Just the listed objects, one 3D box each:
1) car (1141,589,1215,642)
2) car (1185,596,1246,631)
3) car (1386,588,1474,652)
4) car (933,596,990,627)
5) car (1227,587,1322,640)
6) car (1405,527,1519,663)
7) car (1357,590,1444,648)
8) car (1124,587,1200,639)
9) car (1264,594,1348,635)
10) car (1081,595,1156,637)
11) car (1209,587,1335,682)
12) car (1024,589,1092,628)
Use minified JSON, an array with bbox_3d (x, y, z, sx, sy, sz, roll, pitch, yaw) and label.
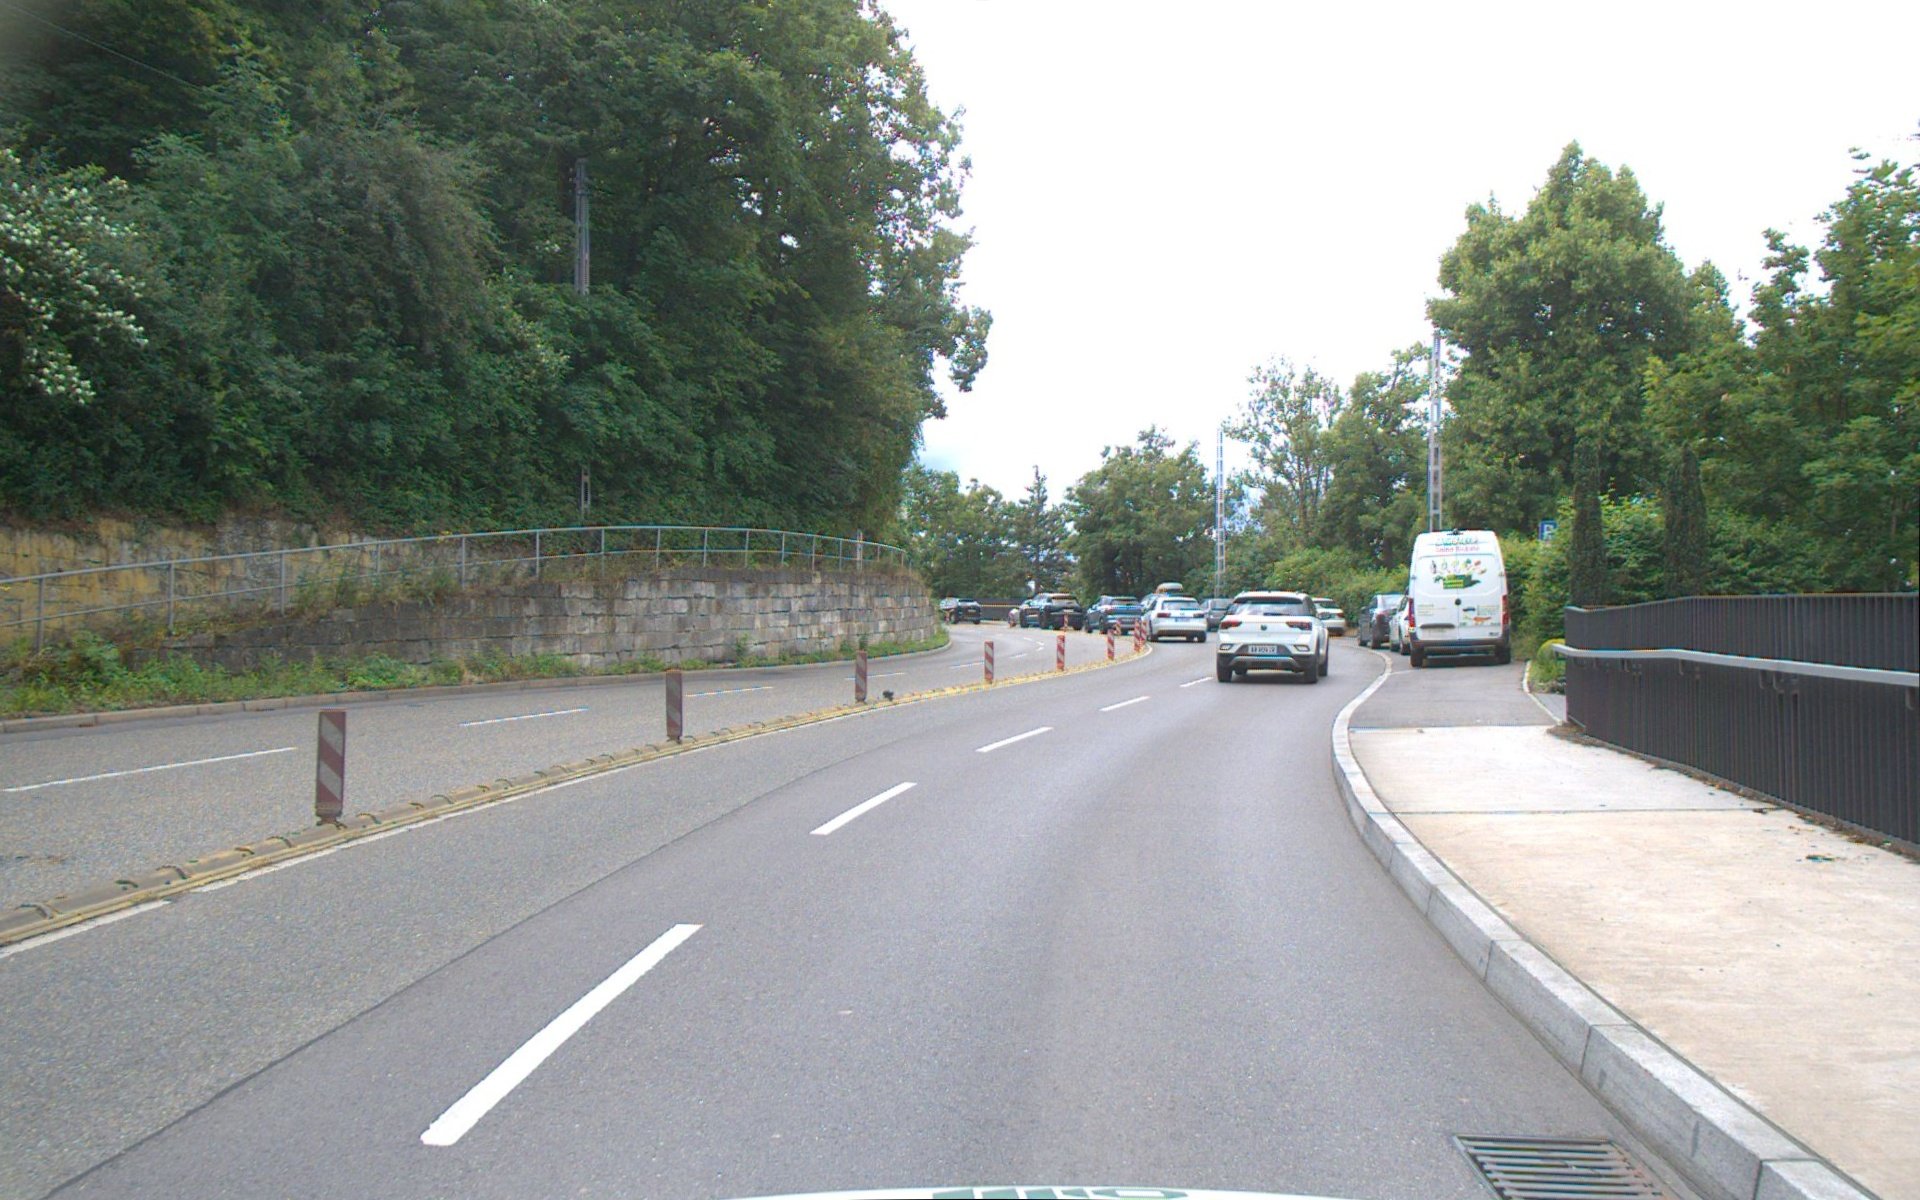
[{"bbox_3d":[7.206,0.518,55.017,1.868,1.601,3.999,3,-1,-1],"label":"car"},{"bbox_3d":[11.286,0.599,73.332,1.610,1.490,3.993,2,-1,-7],"label":"car"},{"bbox_3d":[11.438,0.481,40.448,1.664,1.490,3.838,-1,-1,10],"label":"car"},{"bbox_3d":[0.053,0.647,95.448,1.863,1.639,3.972,3,-1,-23],"label":"car"},{"bbox_3d":[10.543,0.465,55.765,1.956,1.614,3.993,3,-1,-7],"label":"car"},{"bbox_3d":[10.561,-0.073,34.797,2.040,2.567,5.847,-2,-1,17],"label":"car"},{"bbox_3d":[12.030,0.504,45.433,1.664,1.489,4.667,0,0,7],"label":"car"},{"bbox_3d":[7.399,0.490,60.894,1.954,1.769,3.996,3,-1,-4],"label":"car"},{"bbox_3d":[13.047,0.539,62.512,1.745,1.443,3.990,-1,0,-10],"label":"car"},{"bbox_3d":[6.393,0.631,67.259,1.958,1.568,4.000,3,-1,-10],"label":"car"},{"bbox_3d":[5.686,0.596,29.820,1.827,1.563,3.806,1,0,16],"label":"car"},{"bbox_3d":[4.563,0.391,77.482,1.788,1.719,3.979,3,-1,-19],"label":"car"}]
